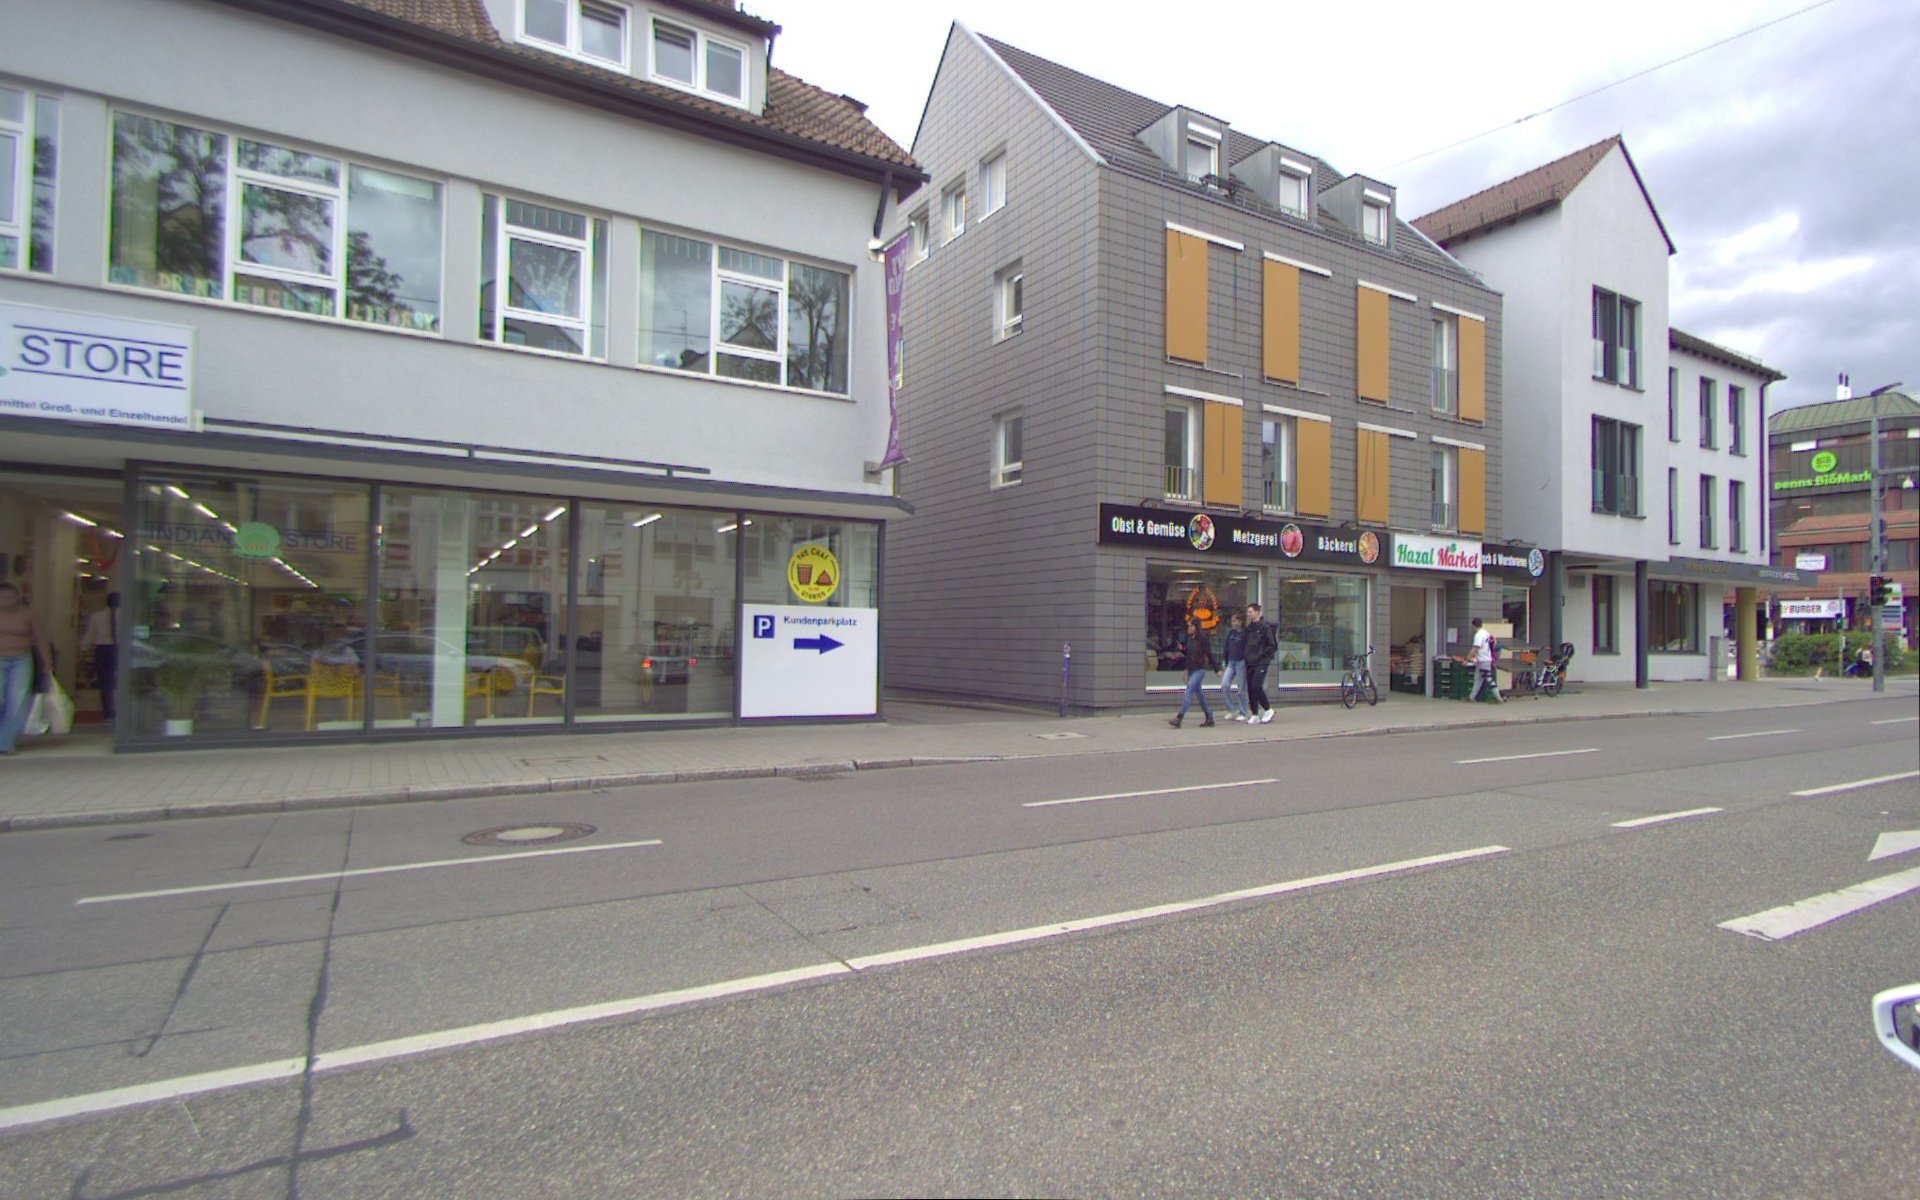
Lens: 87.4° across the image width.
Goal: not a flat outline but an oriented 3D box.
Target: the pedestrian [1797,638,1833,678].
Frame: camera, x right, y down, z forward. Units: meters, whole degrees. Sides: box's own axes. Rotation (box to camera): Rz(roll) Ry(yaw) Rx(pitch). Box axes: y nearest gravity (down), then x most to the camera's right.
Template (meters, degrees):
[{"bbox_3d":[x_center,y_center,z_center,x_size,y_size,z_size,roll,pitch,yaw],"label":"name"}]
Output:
[{"bbox_3d":[38.285,2.580,44.975,0.933,1.778,0.944,1,-1,-28],"label":"pedestrian"}]

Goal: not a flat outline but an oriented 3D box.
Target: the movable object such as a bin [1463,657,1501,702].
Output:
[{"bbox_3d":[11.082,1.687,21.318,0.501,0.911,0.548,1,-1,-31],"label":"movable object such as a bin"}]

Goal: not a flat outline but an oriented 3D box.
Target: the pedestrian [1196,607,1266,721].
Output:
[{"bbox_3d":[4.456,1.035,16.519,0.859,1.805,0.704,1,-2,-29],"label":"pedestrian"}]

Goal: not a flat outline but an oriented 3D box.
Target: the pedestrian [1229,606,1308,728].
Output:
[{"bbox_3d":[4.880,1.046,15.896,1.015,1.863,0.704,1,-2,-29],"label":"pedestrian"}]

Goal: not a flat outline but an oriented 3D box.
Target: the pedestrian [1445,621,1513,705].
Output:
[{"bbox_3d":[10.680,1.279,20.674,0.960,1.665,0.883,1,-1,-30],"label":"pedestrian"}]

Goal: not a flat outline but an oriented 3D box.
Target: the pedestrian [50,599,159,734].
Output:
[{"bbox_3d":[-10.583,0.800,12.434,0.713,1.601,0.846,0,-2,34],"label":"pedestrian"}]

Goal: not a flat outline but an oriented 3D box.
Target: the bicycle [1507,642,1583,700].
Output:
[{"bbox_3d":[13.249,1.592,22.724,2.096,1.248,0.579,1,-1,-32],"label":"bicycle"}]

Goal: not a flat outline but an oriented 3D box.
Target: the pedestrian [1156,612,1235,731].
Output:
[{"bbox_3d":[3.534,1.059,15.096,0.859,1.720,0.800,1,-2,-29],"label":"pedestrian"}]

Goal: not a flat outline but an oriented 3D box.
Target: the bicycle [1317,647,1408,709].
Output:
[{"bbox_3d":[7.675,1.466,19.139,1.880,1.115,0.569,1,-1,-30],"label":"bicycle"}]

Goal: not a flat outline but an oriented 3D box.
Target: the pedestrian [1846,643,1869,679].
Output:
[{"bbox_3d":[41.023,2.793,45.907,0.519,1.609,0.636,1,-1,-28],"label":"pedestrian"}]
